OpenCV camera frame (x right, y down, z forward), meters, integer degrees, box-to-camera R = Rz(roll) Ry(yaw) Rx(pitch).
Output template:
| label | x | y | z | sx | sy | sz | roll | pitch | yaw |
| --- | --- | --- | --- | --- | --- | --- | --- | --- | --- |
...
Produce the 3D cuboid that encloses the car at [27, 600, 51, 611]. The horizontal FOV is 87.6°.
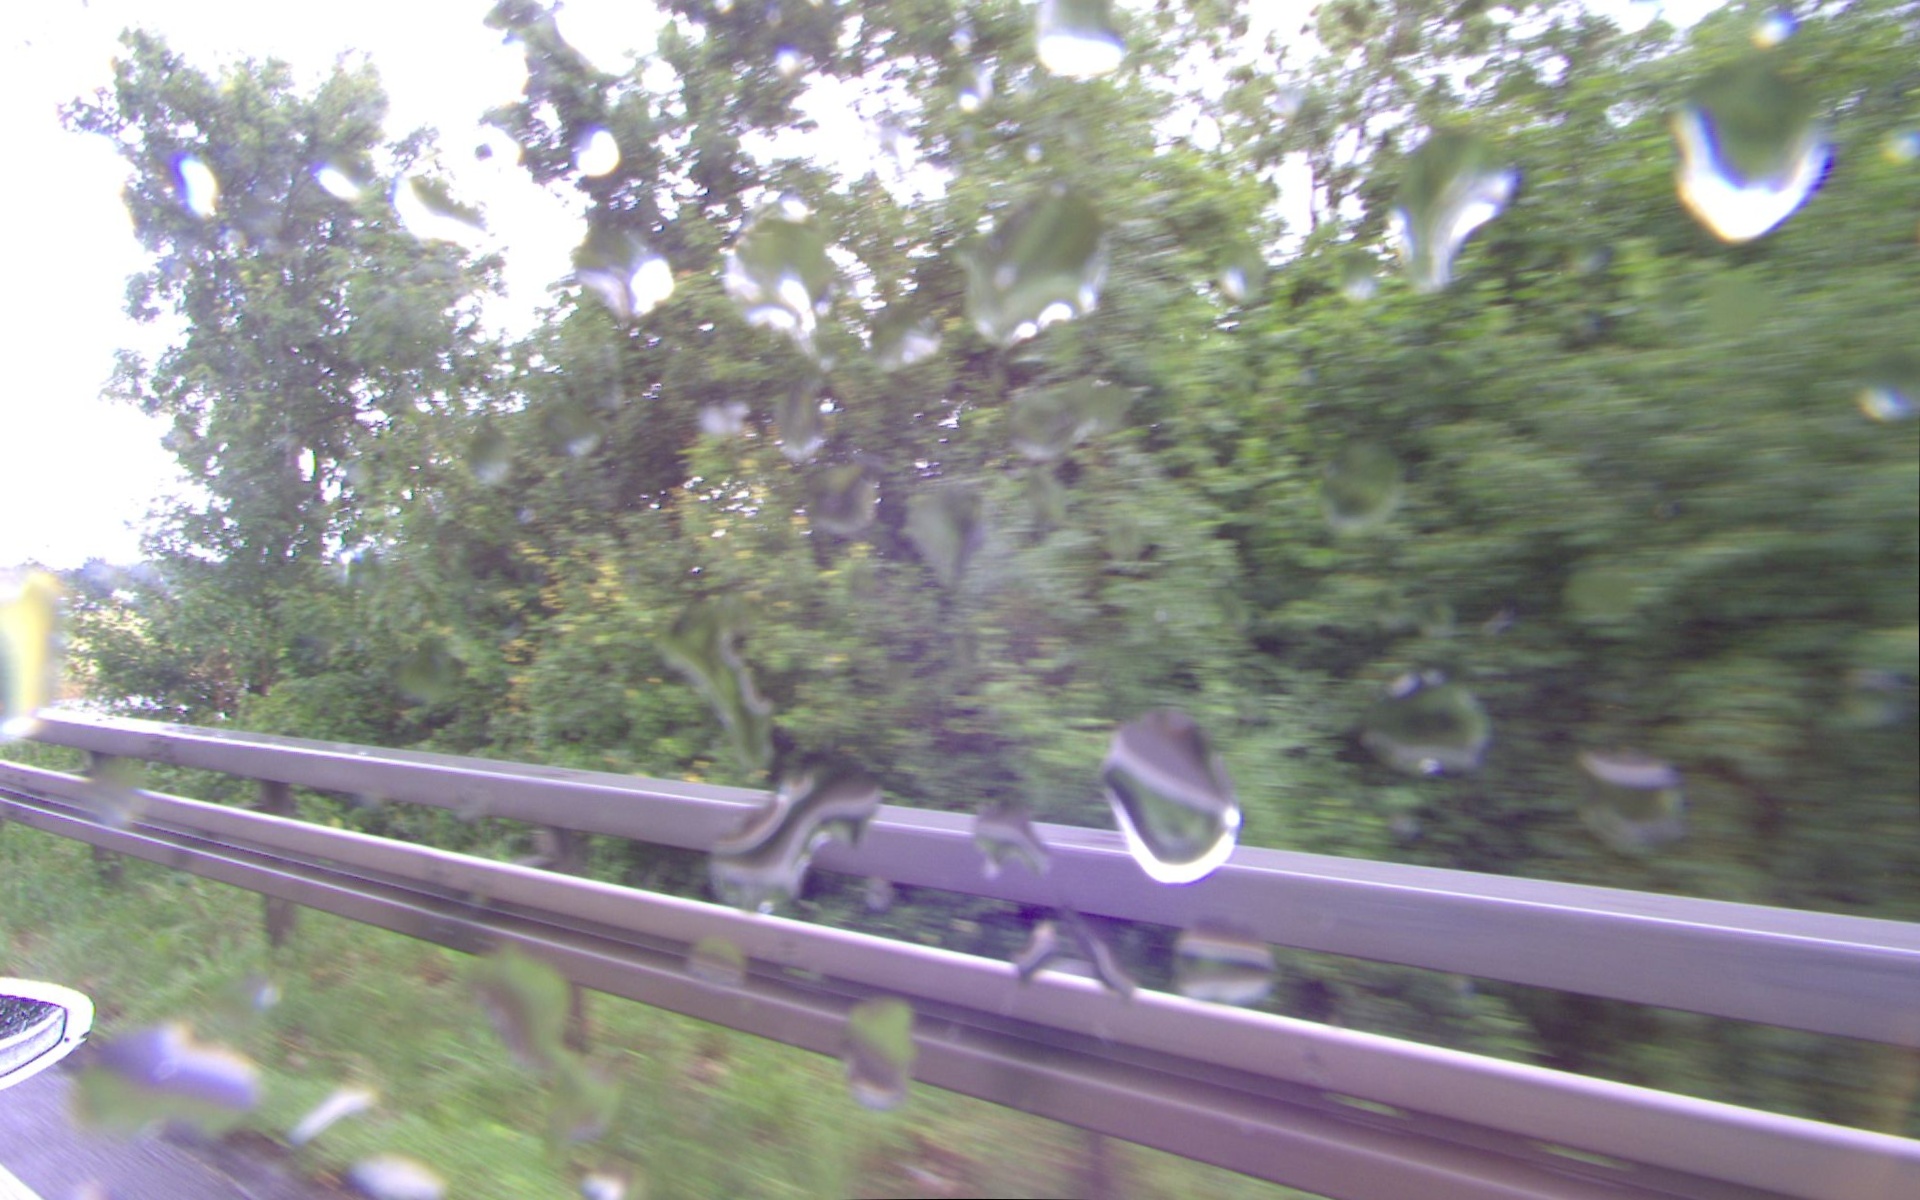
| label | x | y | z | sx | sy | sz | roll | pitch | yaw |
| --- | --- | --- | --- | --- | --- | --- | --- | --- | --- |
| car | -174.555 | 1.084 | 189.792 | 2.113 | 2.039 | 3.989 | 0 | -2 | -22 |
